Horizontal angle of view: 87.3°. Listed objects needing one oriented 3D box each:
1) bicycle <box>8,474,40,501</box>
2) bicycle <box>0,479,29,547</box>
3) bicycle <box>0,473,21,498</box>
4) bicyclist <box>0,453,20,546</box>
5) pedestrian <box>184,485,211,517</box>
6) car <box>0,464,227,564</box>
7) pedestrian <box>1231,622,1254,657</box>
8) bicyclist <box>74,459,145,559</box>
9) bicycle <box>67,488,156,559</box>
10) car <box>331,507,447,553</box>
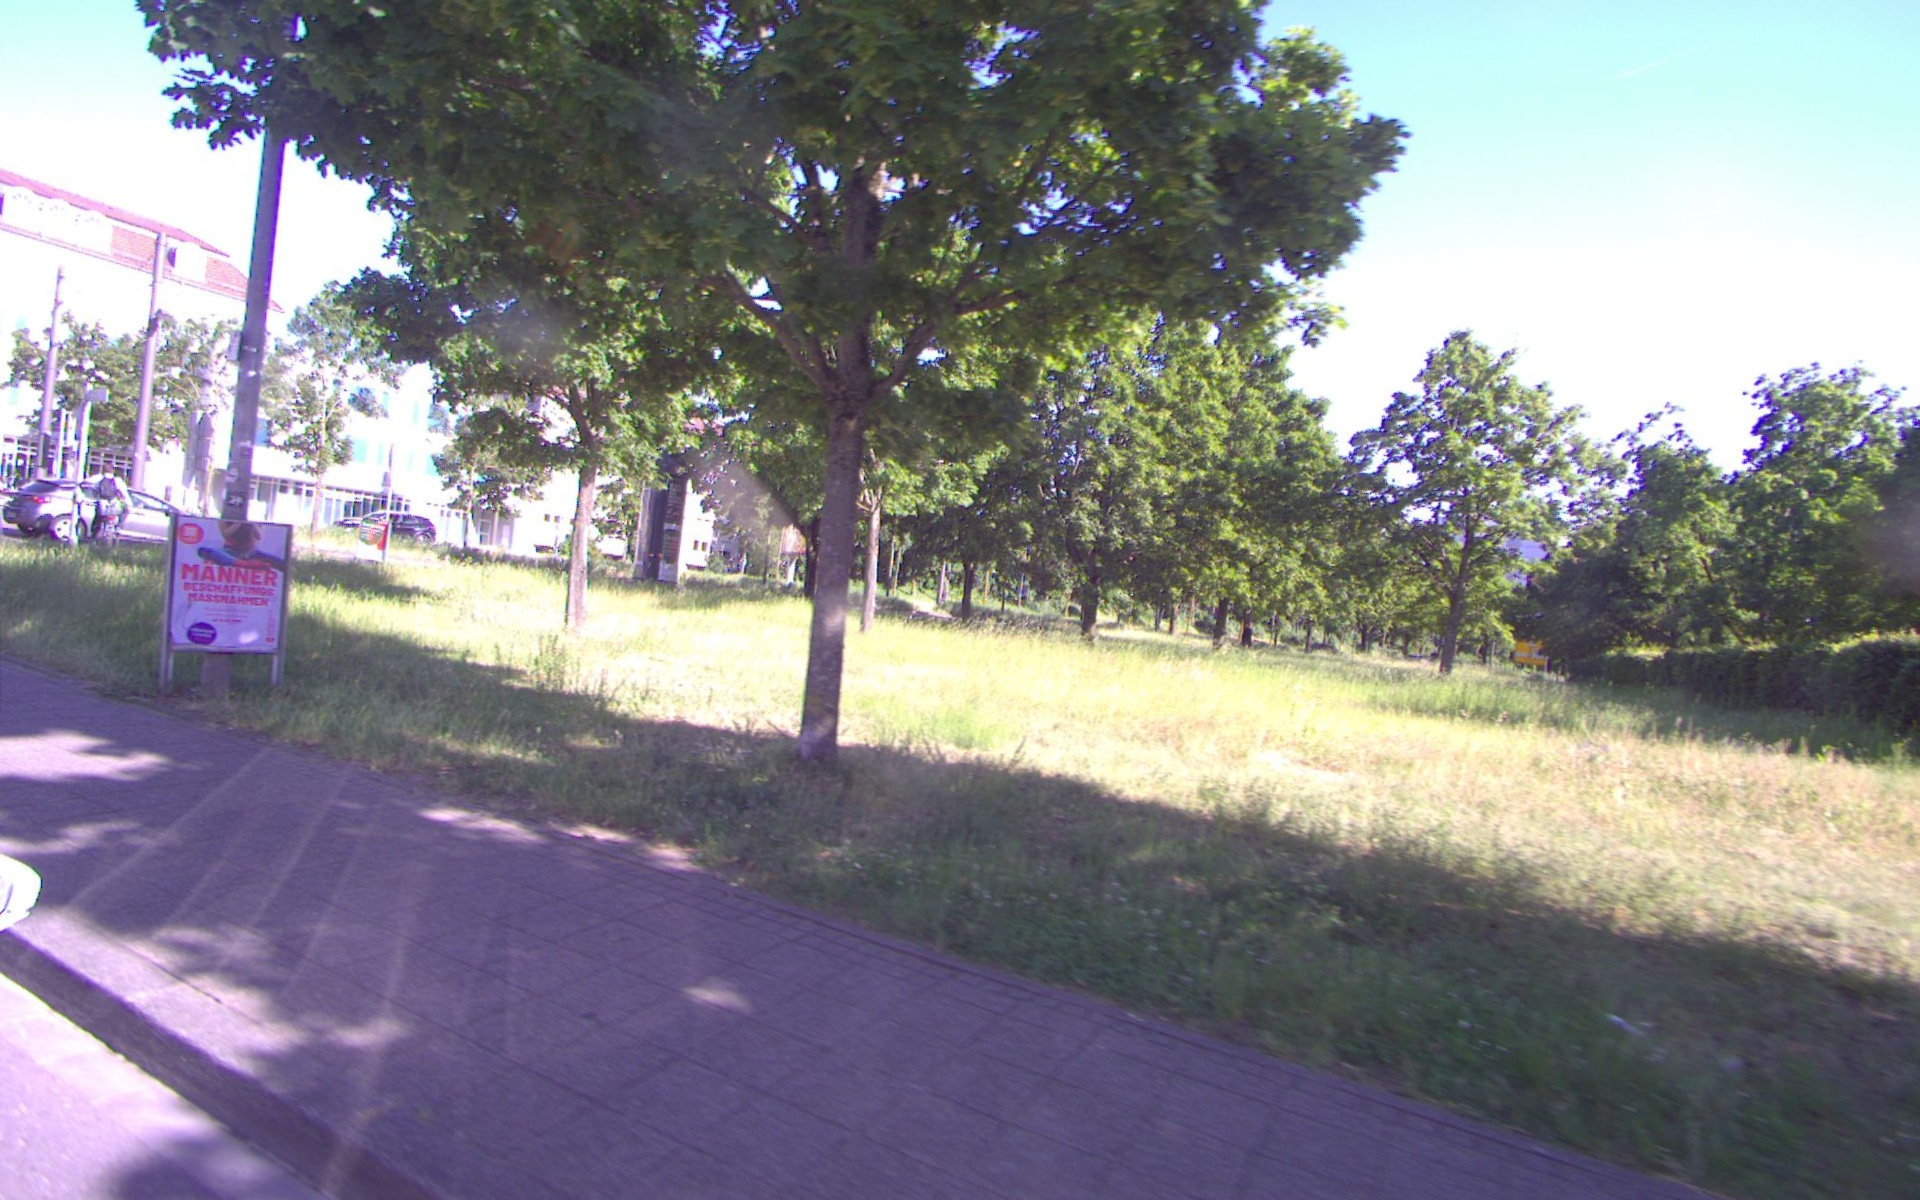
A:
[{"bbox_3d":[-50.180,-6.030,53.928,1.836,1.197,0.561,7,2,26],"label":"bicycle"},{"bbox_3d":[-19.714,-1.801,20.210,0.782,1.365,2.066,6,1,-24],"label":"bicycle"},{"bbox_3d":[-50.323,-6.079,52.985,1.836,1.197,0.561,7,2,26],"label":"bicycle"},{"bbox_3d":[-19.624,-2.051,20.095,0.782,1.848,1.128,6,2,-24],"label":"bicyclist"},{"bbox_3d":[-45.914,-5.931,60.567,0.642,1.745,0.991,8,2,26],"label":"pedestrian"},{"bbox_3d":[-20.117,-1.984,23.915,1.664,1.595,3.870,7,-2,28],"label":"car"},{"bbox_3d":[14.941,2.088,53.177,0.727,1.749,0.887,8,2,31],"label":"pedestrian"},{"bbox_3d":[-18.190,-1.930,21.542,0.782,1.984,1.005,6,2,-24],"label":"bicyclist"},{"bbox_3d":[-18.318,-1.644,21.784,0.782,1.365,2.249,6,1,-24],"label":"bicycle"},{"bbox_3d":[-28.234,-3.444,49.868,1.969,1.630,4.499,8,1,37],"label":"car"}]
